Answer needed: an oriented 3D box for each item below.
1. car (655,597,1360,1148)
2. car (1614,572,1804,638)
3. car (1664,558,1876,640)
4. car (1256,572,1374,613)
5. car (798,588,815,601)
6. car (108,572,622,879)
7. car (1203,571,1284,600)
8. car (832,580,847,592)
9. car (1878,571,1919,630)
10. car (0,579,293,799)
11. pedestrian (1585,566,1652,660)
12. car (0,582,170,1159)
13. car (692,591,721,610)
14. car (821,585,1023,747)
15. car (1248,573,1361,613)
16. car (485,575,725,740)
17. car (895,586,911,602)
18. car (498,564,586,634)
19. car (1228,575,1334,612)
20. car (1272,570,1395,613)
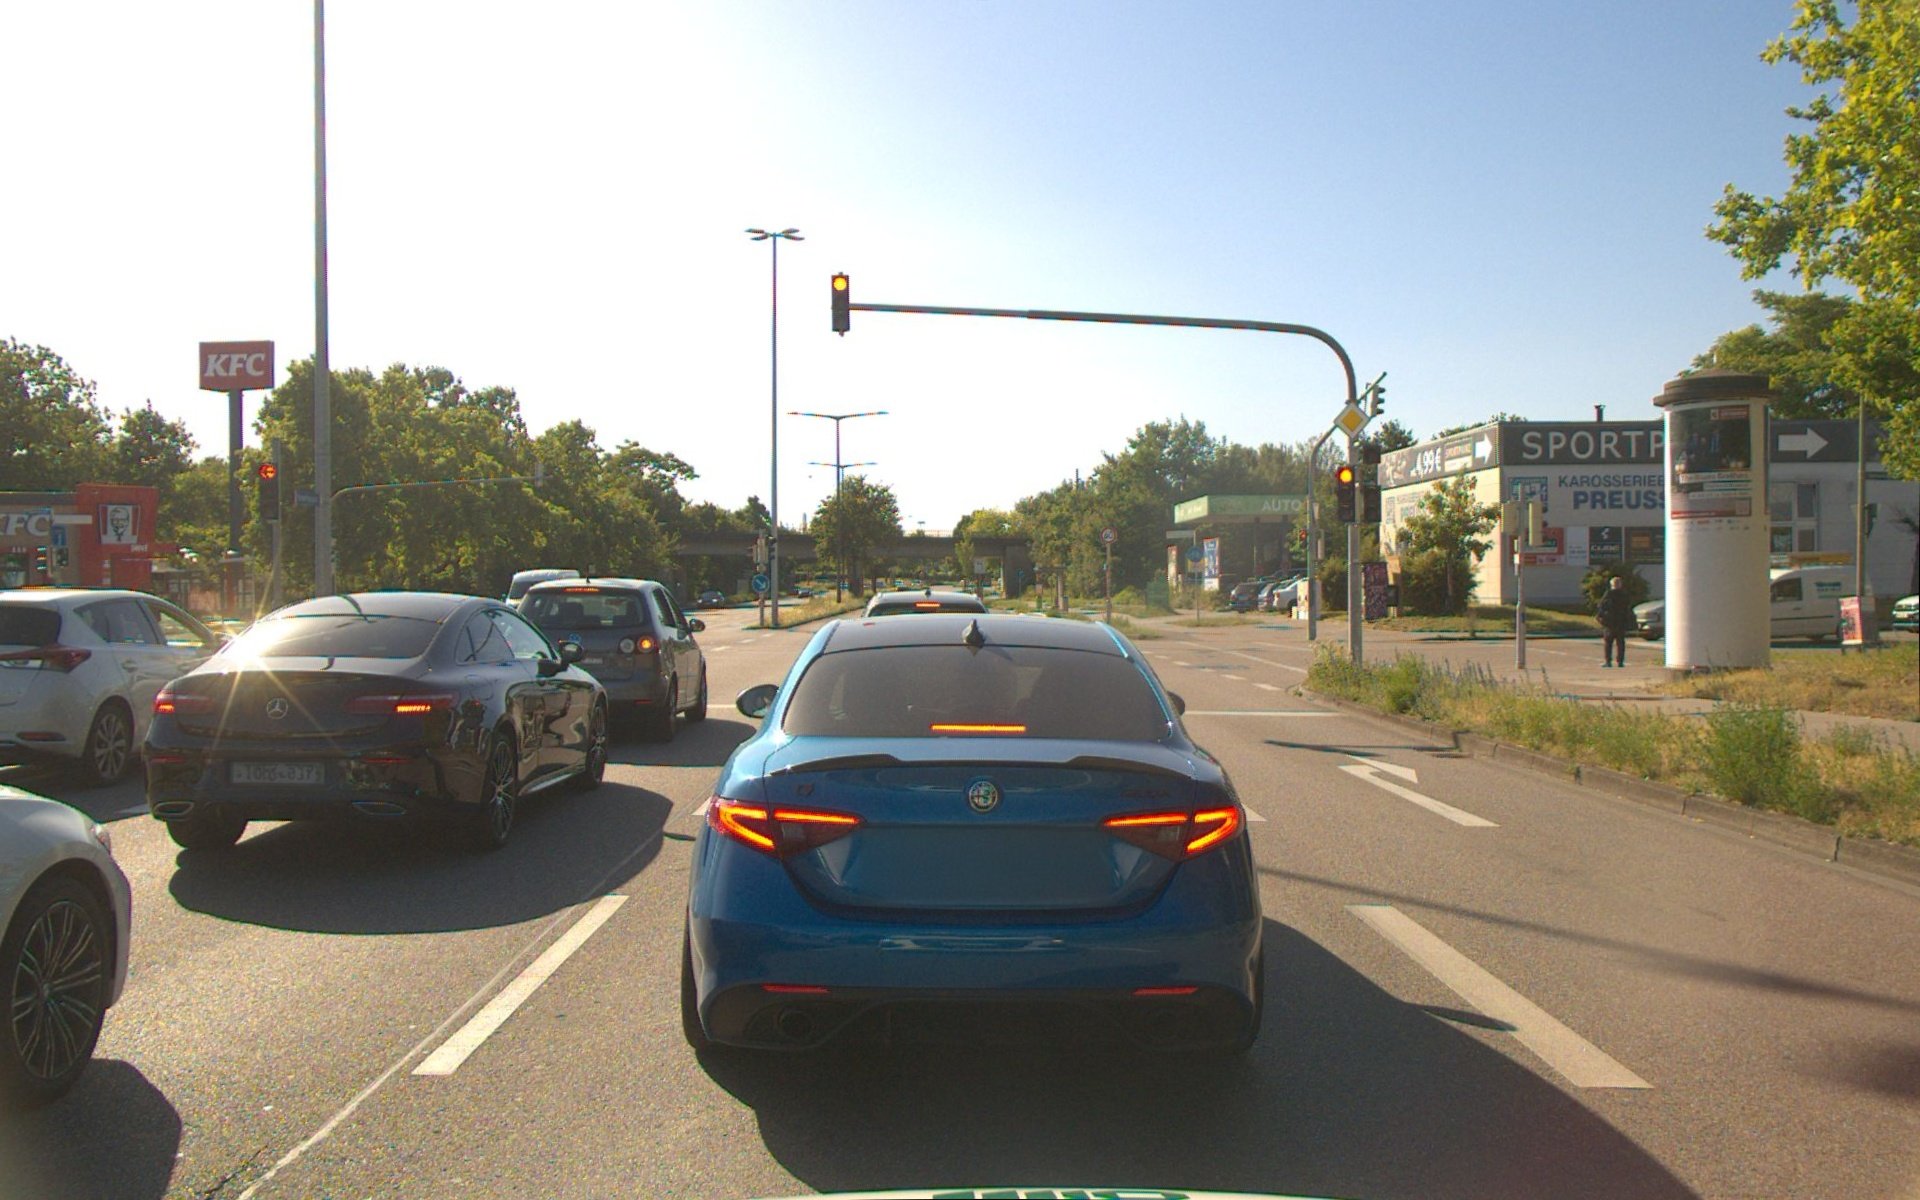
[{"bbox_3d":[0.067,0.738,6.595,1.857,1.443,4.401,1,0,-2],"label":"car"},{"bbox_3d":[19.594,0.113,43.378,4.201,1.576,1.764,-1,2,-2],"label":"car"},{"bbox_3d":[19.550,-0.043,40.026,4.293,1.833,1.764,-1,2,-2],"label":"car"},{"bbox_3d":[14.482,-0.319,67.574,4.397,1.479,1.858,-2,0,1],"label":"car"},{"bbox_3d":[-19.034,-0.713,204.825,1.723,1.516,4.477,-2,0,-1],"label":"car"},{"bbox_3d":[-3.440,0.642,10.554,1.760,1.516,4.474,1,0,-2],"label":"car"},{"bbox_3d":[16.719,-0.848,97.585,4.457,1.516,1.765,-2,0,1],"label":"car"},{"bbox_3d":[-16.230,-1.831,223.320,1.723,1.516,3.836,-2,0,-1],"label":"car"},{"bbox_3d":[26.777,-0.056,43.766,3.960,1.516,1.782,-2,0,-3],"label":"car"},{"bbox_3d":[-7.128,0.613,13.547,1.723,1.516,4.195,1,0,-2],"label":"car"},{"bbox_3d":[12.749,0.252,32.034,0.906,1.765,0.938,1,-1,-1],"label":"pedestrian"},{"bbox_3d":[-3.345,0.691,3.049,1.749,1.516,4.401,1,0,-2],"label":"car"},{"bbox_3d":[-21.380,0.031,139.765,1.723,1.516,4.477,-2,0,-1],"label":"car"},{"bbox_3d":[-0.415,0.608,17.223,1.813,1.443,4.401,1,0,-2],"label":"car"},{"bbox_3d":[14.626,-0.296,70.330,4.397,1.479,1.858,-2,0,1],"label":"car"},{"bbox_3d":[-3.625,0.546,17.651,1.723,1.516,4.401,1,0,-2],"label":"car"},{"bbox_3d":[-6.689,-0.696,194.523,1.853,1.847,3.999,1,0,-1],"label":"car"},{"bbox_3d":[-16.386,-0.038,65.115,1.981,2.489,5.820,-3,0,-1],"label":"car"},{"bbox_3d":[14.397,-0.288,74.377,4.397,1.479,1.858,-2,0,1],"label":"car"},{"bbox_3d":[14.605,-0.320,64.797,4.397,1.479,1.858,-2,0,1],"label":"car"}]
